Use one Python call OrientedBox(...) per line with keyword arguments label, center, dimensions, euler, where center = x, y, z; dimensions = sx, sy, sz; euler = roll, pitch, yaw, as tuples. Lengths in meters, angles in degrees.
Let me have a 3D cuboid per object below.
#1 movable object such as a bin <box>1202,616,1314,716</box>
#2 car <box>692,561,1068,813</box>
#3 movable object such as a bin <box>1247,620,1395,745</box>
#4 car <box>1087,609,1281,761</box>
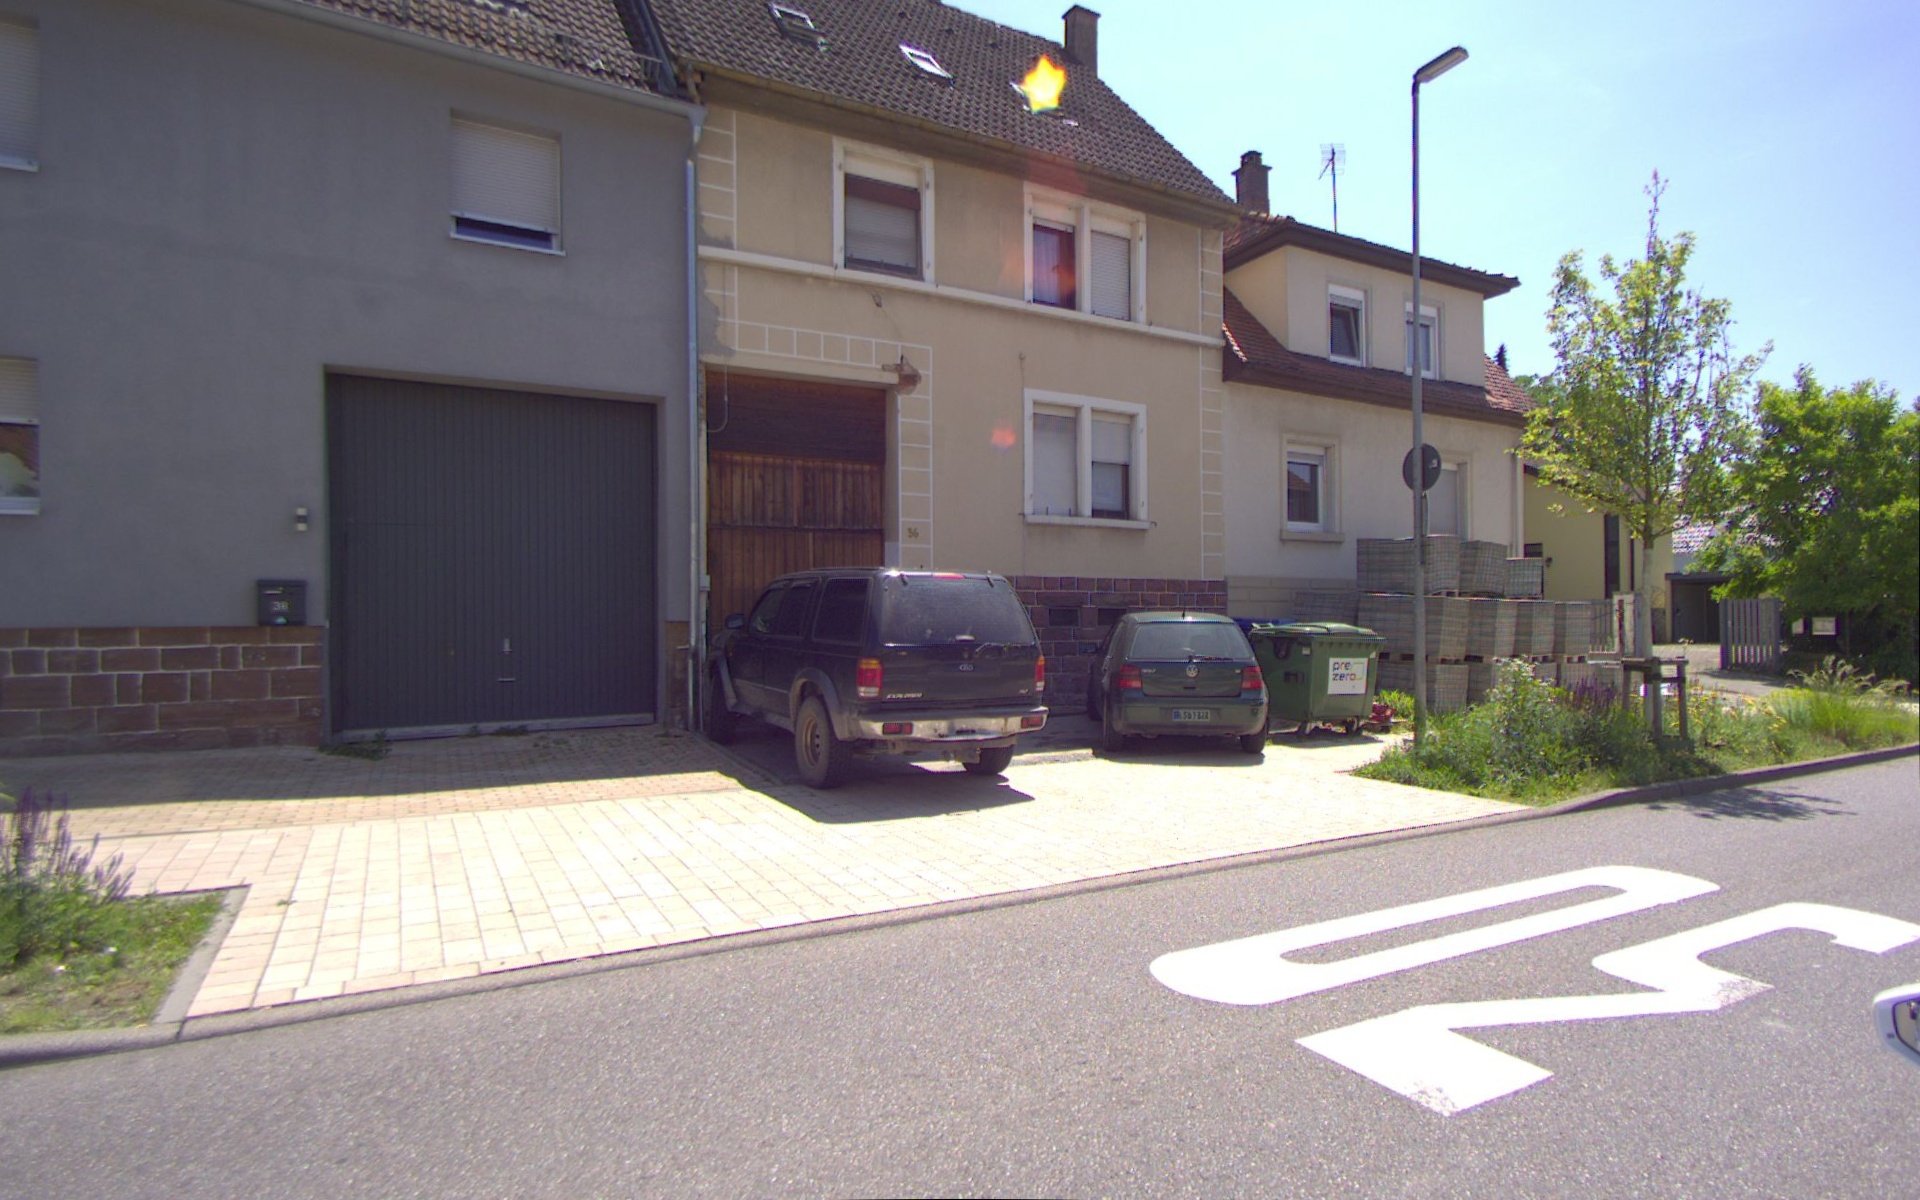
OrientedBox(label="movable object such as a bin", center=(4.171, 0.888, 14.121), dimensions=(0.879, 1.285, 1.230), euler=(-2, 1, -32))
OrientedBox(label="car", center=(-1.017, 0.657, 9.455), dimensions=(1.856, 1.773, 4.374), euler=(1, -1, -30))
OrientedBox(label="movable object such as a bin", center=(4.320, 0.941, 12.040), dimensions=(1.385, 1.337, 0.986), euler=(-2, 1, -26))
OrientedBox(label="car", center=(2.407, 0.871, 11.592), dimensions=(1.664, 1.458, 3.553), euler=(1, -1, 4))
